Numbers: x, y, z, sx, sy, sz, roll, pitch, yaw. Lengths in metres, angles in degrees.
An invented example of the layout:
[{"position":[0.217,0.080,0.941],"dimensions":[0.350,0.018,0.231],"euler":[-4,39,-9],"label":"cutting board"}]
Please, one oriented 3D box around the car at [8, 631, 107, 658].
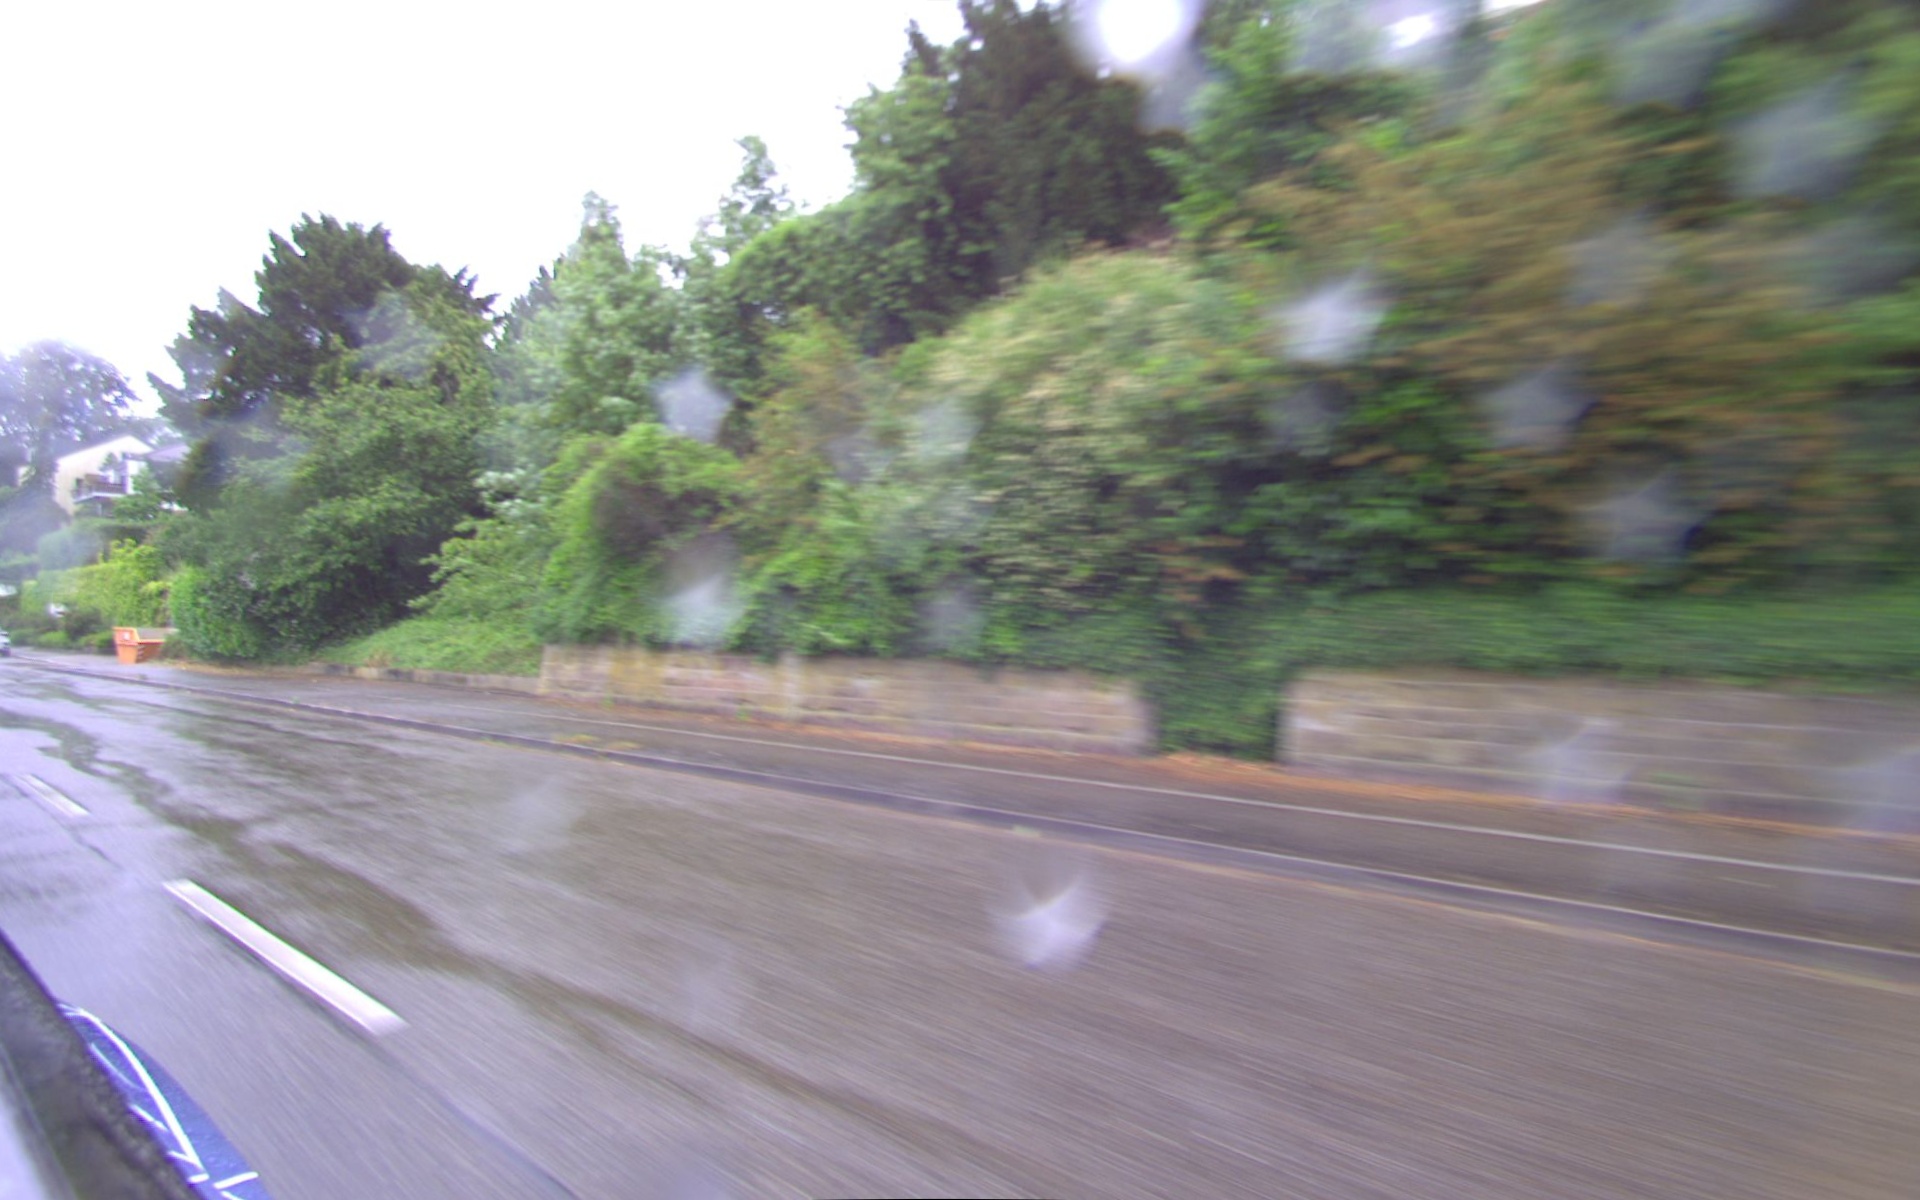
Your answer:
[{"position":[-48.708,2.386,54.644],"dimensions":[1.864,1.394,3.720],"euler":[-2,-3,39],"label":"car"}]
